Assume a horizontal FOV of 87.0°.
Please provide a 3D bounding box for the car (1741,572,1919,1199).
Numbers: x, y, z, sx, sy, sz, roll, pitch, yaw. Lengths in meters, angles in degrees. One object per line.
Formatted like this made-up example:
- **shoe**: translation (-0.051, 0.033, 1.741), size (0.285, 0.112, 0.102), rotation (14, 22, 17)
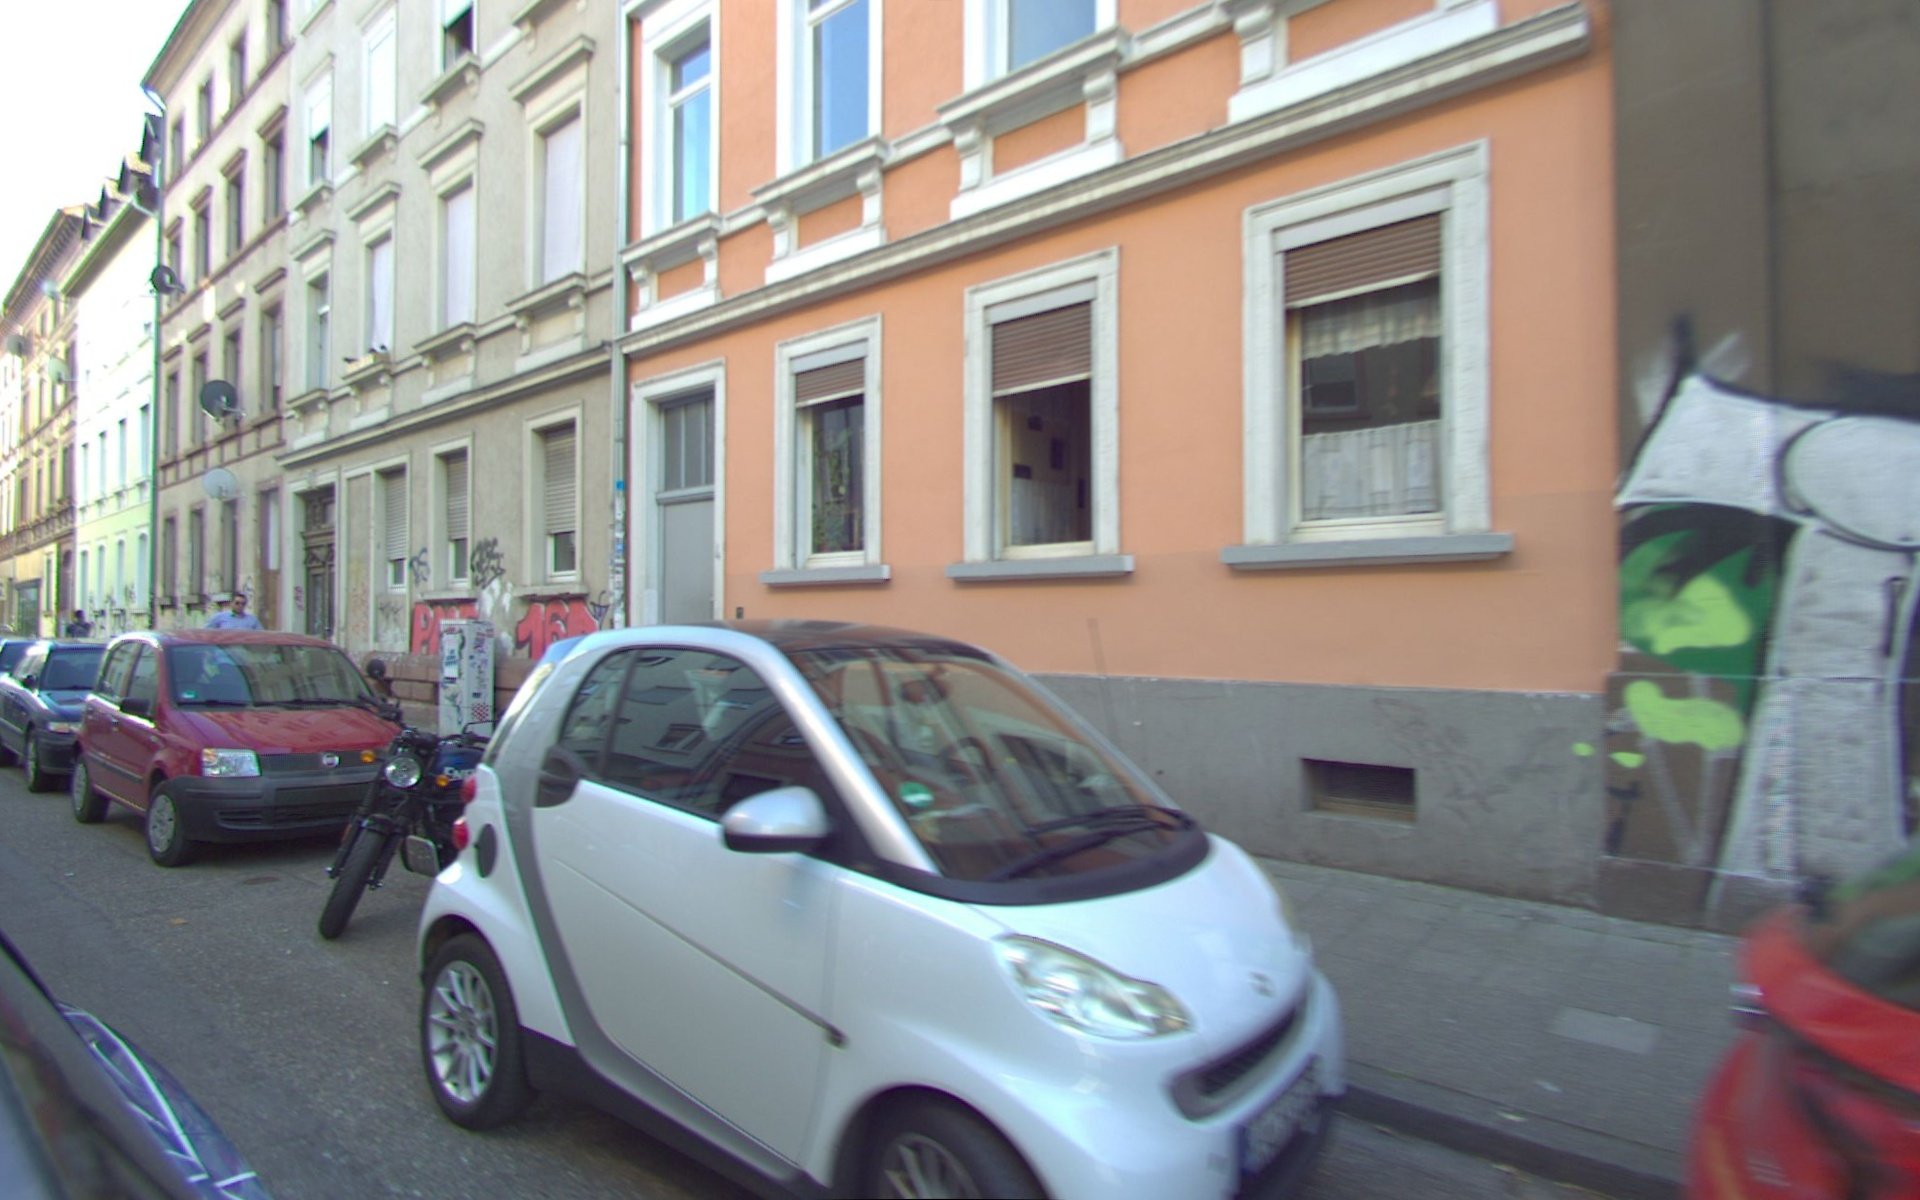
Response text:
- **car**: translation (2.949, 0.722, 0.335), size (4.199, 1.485, 1.662), rotation (-1, -4, 40)

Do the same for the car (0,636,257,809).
- **car**: translation (-9.161, 1.133, 10.851), size (4.310, 1.474, 1.661), rotation (-2, -2, 41)

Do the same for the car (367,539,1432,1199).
- **car**: translation (-0.301, 0.741, 3.176), size (2.955, 1.561, 1.663), rotation (-1, -3, 37)

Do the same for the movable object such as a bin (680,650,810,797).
- **movable object such as a bin**: translation (-1.739, 0.964, 8.184), size (0.768, 1.057, 0.663), rotation (-2, 0, -41)

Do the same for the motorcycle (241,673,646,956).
- **motorcycle**: translation (-2.740, 1.051, 5.695), size (0.784, 1.137, 2.068), rotation (-1, 0, 19)

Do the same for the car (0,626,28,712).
- **car**: translation (-20.663, 1.387, 20.898), size (3.858, 1.696, 1.661), rotation (-2, -2, 41)

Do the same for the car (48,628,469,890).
- **car**: translation (-5.391, 0.969, 7.637), size (3.608, 1.504, 1.662), rotation (-1, -2, 39)

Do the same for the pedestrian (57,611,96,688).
- **pedestrian**: translation (-21.467, 1.189, 24.591), size (0.594, 1.844, 0.618), rotation (-2, -1, 42)

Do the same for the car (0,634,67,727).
- **car**: translation (-16.830, 1.340, 17.434), size (3.858, 1.474, 1.661), rotation (-2, -2, 41)

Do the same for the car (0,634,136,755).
- **car**: translation (-12.865, 1.225, 14.190), size (1.660, 1.474, 3.862), rotation (1, -2, -45)

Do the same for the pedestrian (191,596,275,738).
- **pedestrian**: translation (-9.779, 0.871, 13.620), size (0.594, 1.844, 0.780), rotation (-2, -1, 41)
